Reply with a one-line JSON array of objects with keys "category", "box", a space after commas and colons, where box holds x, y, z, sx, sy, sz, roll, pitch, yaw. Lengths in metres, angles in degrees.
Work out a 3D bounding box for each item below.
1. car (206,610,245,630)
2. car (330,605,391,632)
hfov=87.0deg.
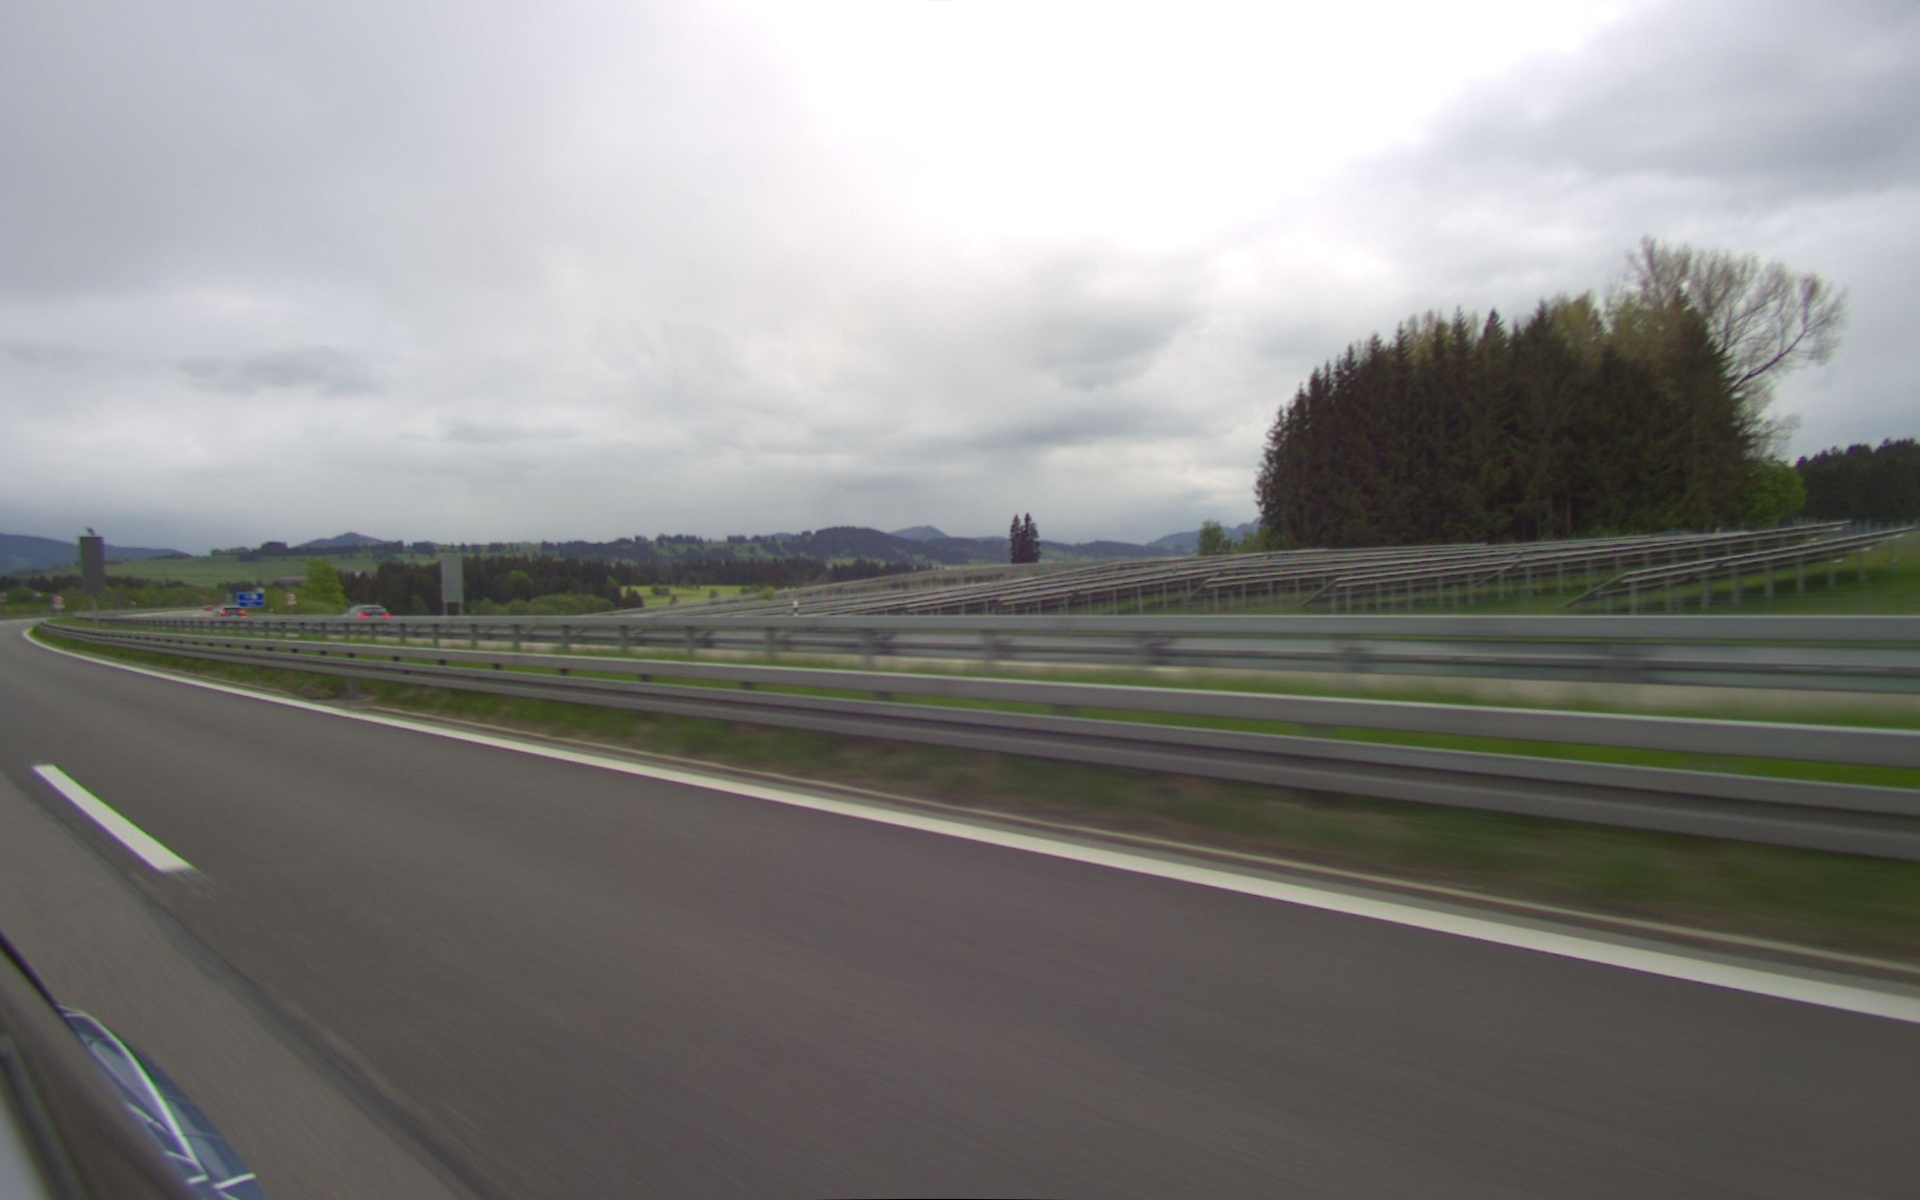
[{"category": "car", "box": [-58.219, 1.596, 80.208, 1.970, 1.428, 4.004, -4, 2, -43]}, {"category": "car", "box": [-36.597, 1.122, 61.731, 5.002, 1.450, 1.971, -2, 2, 45]}]
